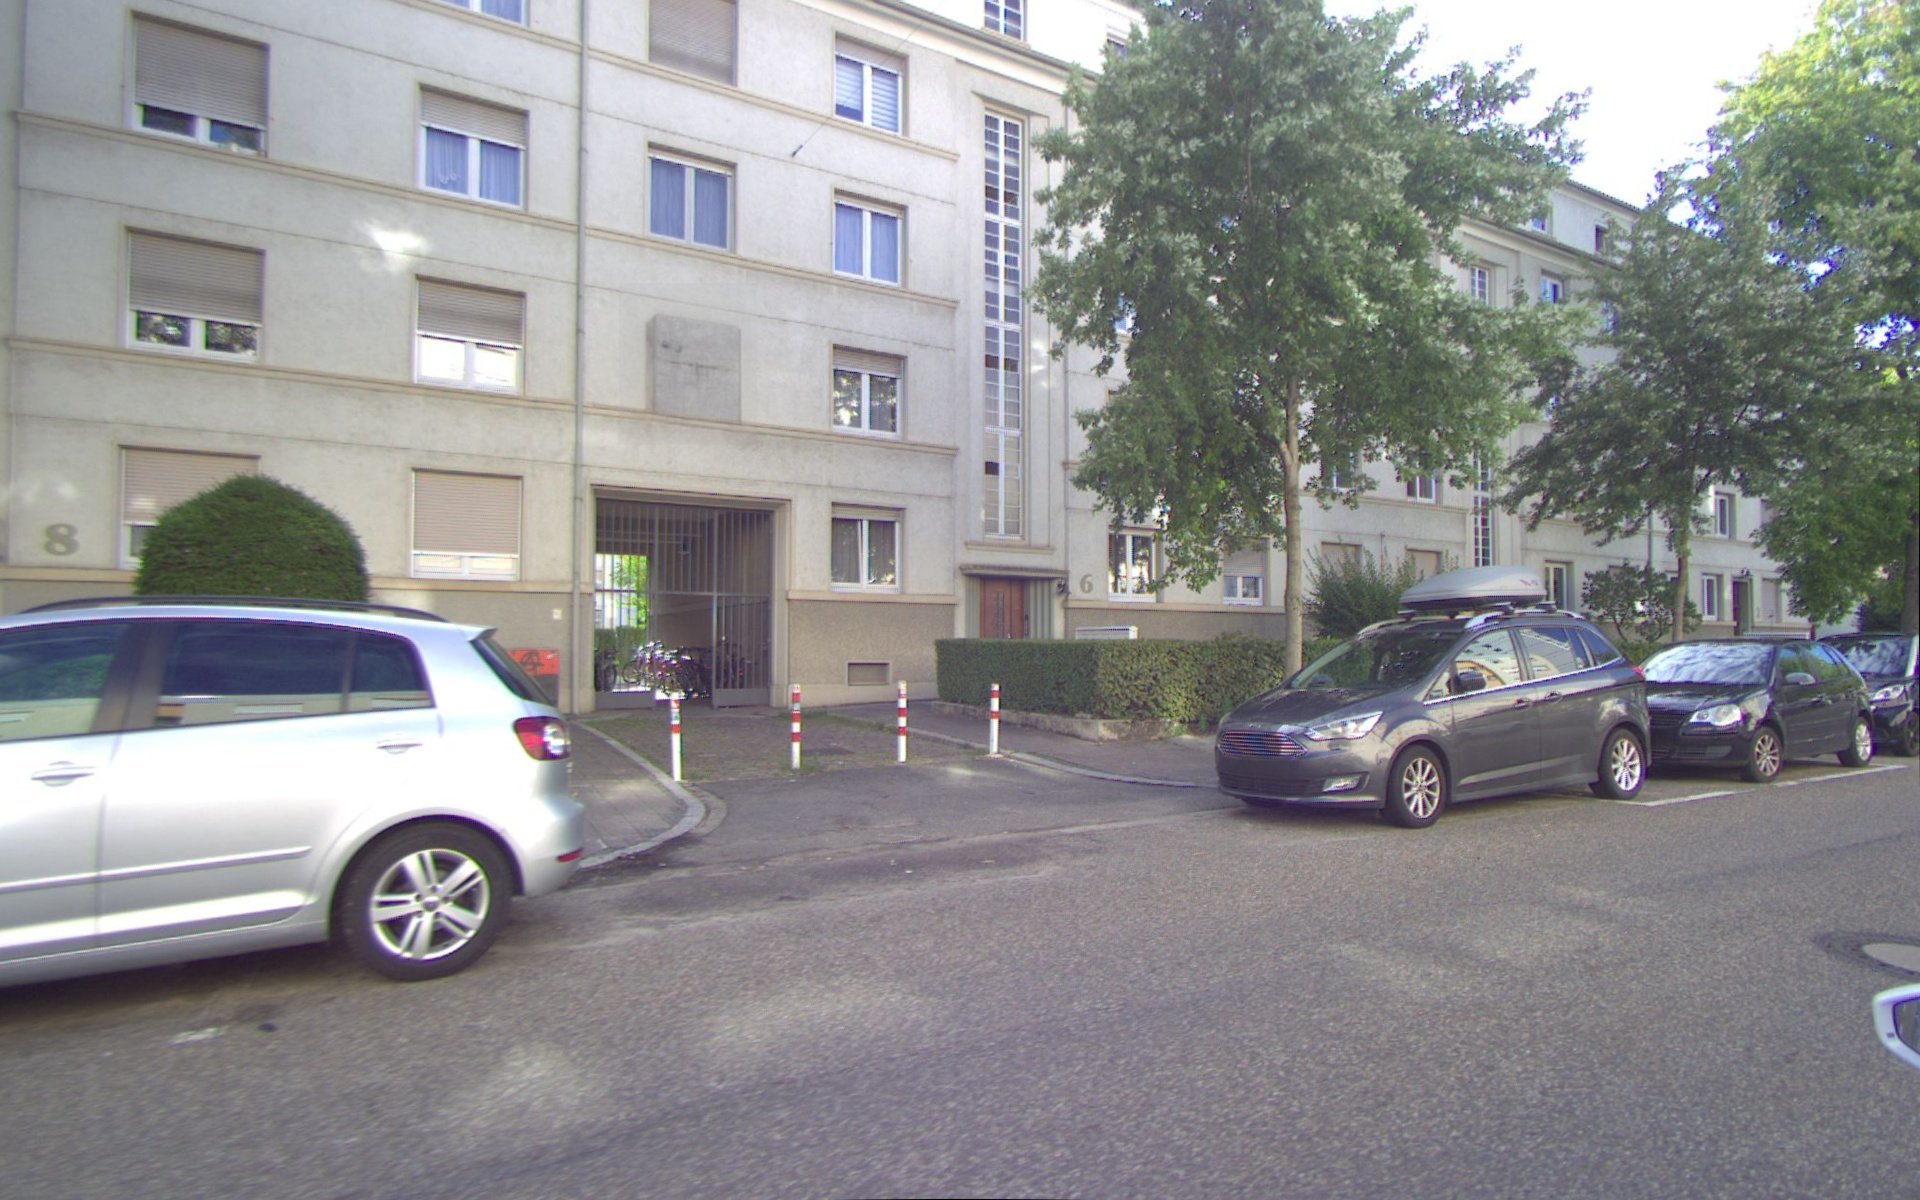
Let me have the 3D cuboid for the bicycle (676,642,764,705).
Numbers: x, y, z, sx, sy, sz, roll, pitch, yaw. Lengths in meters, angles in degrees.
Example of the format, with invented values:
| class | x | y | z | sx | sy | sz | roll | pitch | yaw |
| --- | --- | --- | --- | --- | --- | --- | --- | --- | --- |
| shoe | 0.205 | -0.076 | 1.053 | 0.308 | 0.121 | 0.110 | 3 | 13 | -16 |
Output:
| class | x | y | z | sx | sy | sz | roll | pitch | yaw |
| --- | --- | --- | --- | --- | --- | --- | --- | --- | --- |
| bicycle | -4.882 | 1.446 | 20.297 | 0.980 | 1.138 | 2.571 | 1 | -1 | -31 |

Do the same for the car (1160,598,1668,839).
| class | x | y | z | sx | sy | sz | roll | pitch | yaw |
| --- | --- | --- | --- | --- | --- | --- | --- | --- | --- |
| car | 4.103 | 0.933 | 8.942 | 4.428 | 1.689 | 1.792 | 1 | -5 | -29 |

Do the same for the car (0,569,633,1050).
| class | x | y | z | sx | sy | sz | roll | pitch | yaw |
| --- | --- | --- | --- | --- | --- | --- | --- | --- | --- |
| car | -3.612 | 0.779 | 4.287 | 3.949 | 1.641 | 1.730 | 1 | -5 | -32 |

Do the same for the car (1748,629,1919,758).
| class | x | y | z | sx | sy | sz | roll | pitch | yaw |
| --- | --- | --- | --- | --- | --- | --- | --- | --- | --- |
| car | 12.229 | 1.205 | 13.450 | 2.979 | 1.540 | 1.547 | 1 | -5 | -29 |

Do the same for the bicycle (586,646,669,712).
| class | x | y | z | sx | sy | sz | roll | pitch | yaw |
| --- | --- | --- | --- | --- | --- | --- | --- | --- | --- |
| bicycle | -6.516 | 1.492 | 19.554 | 0.909 | 1.138 | 2.964 | 1 | -2 | -31 |

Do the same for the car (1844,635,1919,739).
| class | x | y | z | sx | sy | sz | roll | pitch | yaw |
| --- | --- | --- | --- | --- | --- | --- | --- | --- | --- |
| car | 15.944 | 1.307 | 15.690 | 4.275 | 1.512 | 1.689 | 1 | -4 | -27 |

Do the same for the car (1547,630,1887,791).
| class | x | y | z | sx | sy | sz | roll | pitch | yaw |
| --- | --- | --- | --- | --- | --- | --- | --- | --- | --- |
| car | 8.457 | 1.141 | 11.168 | 3.804 | 1.506 | 1.692 | 1 | -5 | -32 |
